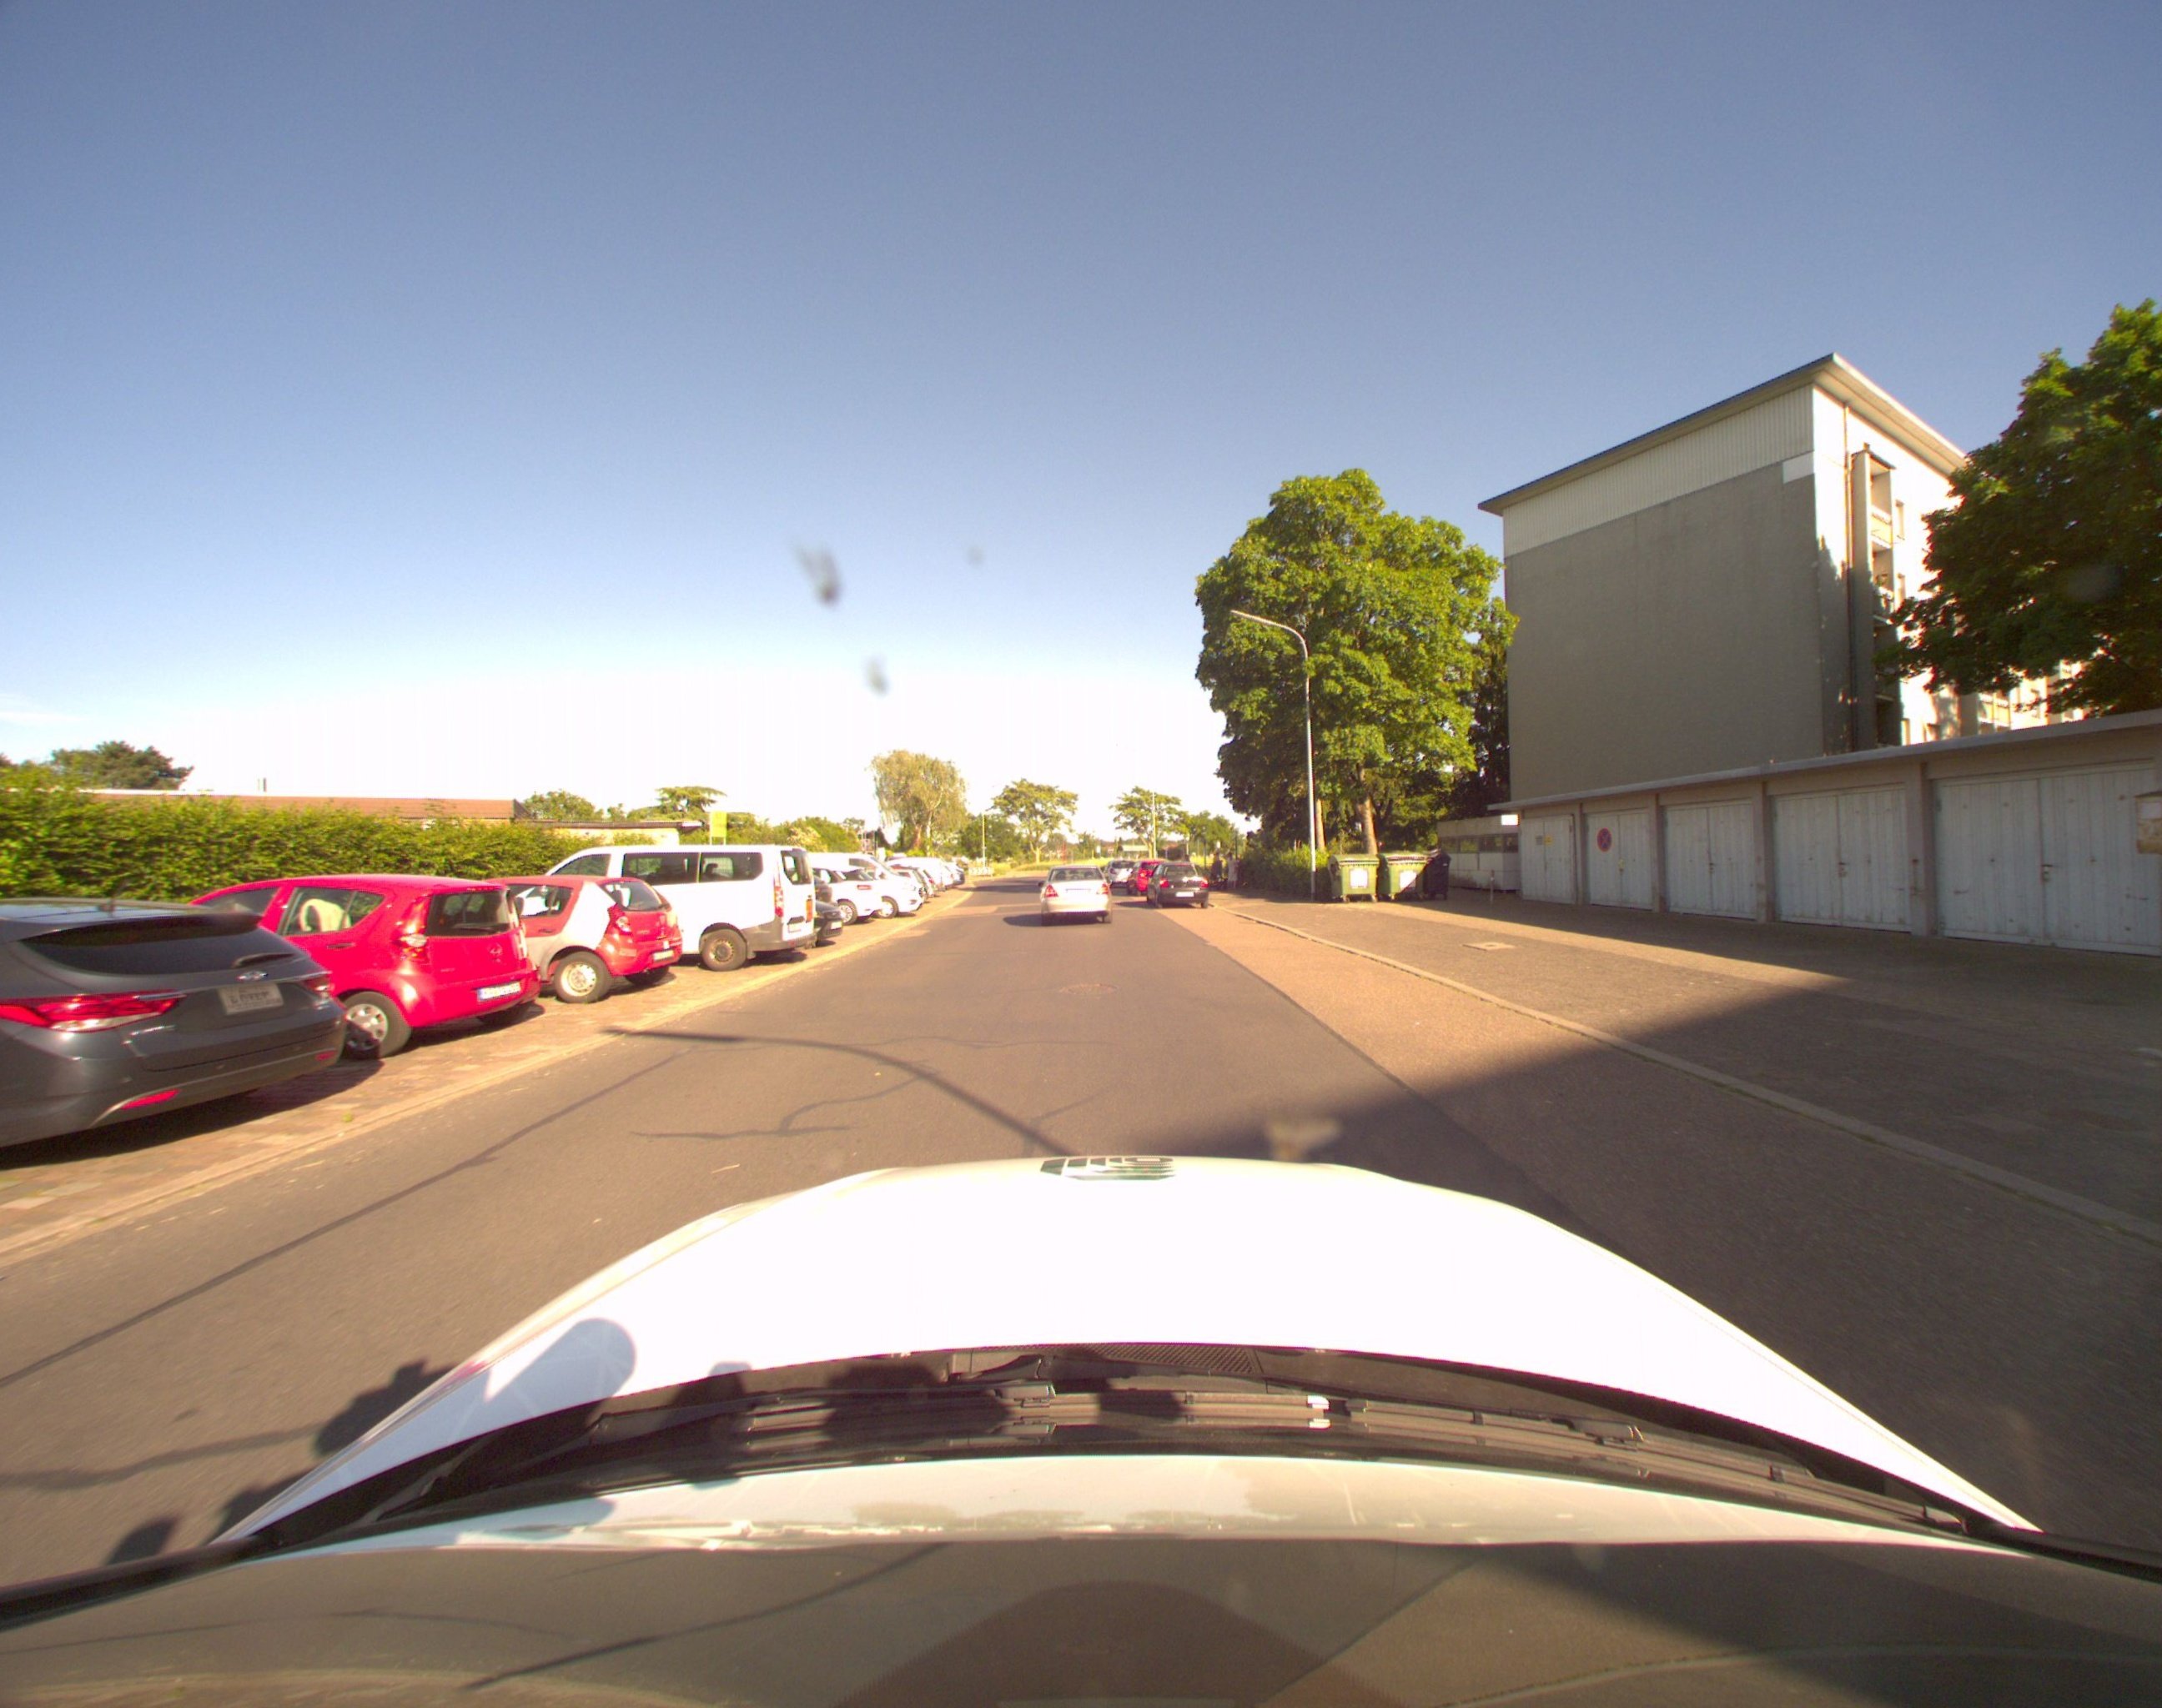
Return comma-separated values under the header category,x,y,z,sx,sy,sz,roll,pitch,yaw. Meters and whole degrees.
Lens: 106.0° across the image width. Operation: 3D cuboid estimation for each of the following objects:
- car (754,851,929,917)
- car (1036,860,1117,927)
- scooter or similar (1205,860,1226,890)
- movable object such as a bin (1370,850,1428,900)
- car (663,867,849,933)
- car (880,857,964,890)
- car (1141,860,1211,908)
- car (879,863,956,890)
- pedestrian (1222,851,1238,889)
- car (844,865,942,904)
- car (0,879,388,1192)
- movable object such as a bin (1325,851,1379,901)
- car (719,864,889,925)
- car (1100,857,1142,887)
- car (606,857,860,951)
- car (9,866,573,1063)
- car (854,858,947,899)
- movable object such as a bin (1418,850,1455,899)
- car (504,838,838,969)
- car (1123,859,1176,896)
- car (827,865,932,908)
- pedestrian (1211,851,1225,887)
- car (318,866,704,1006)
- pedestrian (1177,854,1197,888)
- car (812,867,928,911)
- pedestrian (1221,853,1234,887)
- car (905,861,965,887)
category,x,y,z,sx,sy,sz,roll,pitch,yaw
car,-7.294,0.909,25.205,4.778,1.921,2.079,1,-1,-3
car,-0.071,0.912,20.626,1.810,1.463,4.361,0,0,1
scooter or similar,5.710,0.873,34.565,0.621,1.227,0.904,-2,-1,-4
movable object such as a bin,9.328,0.614,23.927,1.271,1.416,0.950,-1,-1,-2
car,-7.868,1.096,20.015,3.755,1.487,1.883,1,-1,0
car,-9.590,1.178,49.438,4.869,1.915,1.994,-1,-1,-9
car,3.003,0.945,26.447,1.643,1.403,3.878,-2,-1,-2
car,-9.389,1.284,46.926,4.131,1.492,1.922,0,-1,-6
pedestrian,6.309,0.670,34.468,0.485,1.565,0.468,-3,-2,-8
car,-7.466,1.199,32.502,3.504,1.489,1.636,1,-1,-2
car,-7.208,0.920,4.876,4.530,1.479,1.747,1,0,-1
movable object such as a bin,7.926,0.645,23.862,1.234,1.403,0.914,-1,-1,-2
car,-7.506,1.084,22.372,3.974,1.583,1.883,1,-1,0
car,2.102,0.971,43.858,1.729,1.543,3.781,-1,-1,-5
car,-6.722,0.951,16.086,4.138,1.706,1.883,1,-1,0
car,-7.256,0.930,7.785,3.587,1.567,1.883,1,0,3
car,-8.289,1.111,37.712,3.973,1.780,1.921,0,0,-7
movable object such as a bin,10.413,0.599,23.870,0.721,1.416,0.688,-1,-1,-2
car,-6.615,0.782,13.577,4.465,1.977,1.999,1,-1,-1
car,2.795,0.951,33.994,1.573,1.446,3.781,-1,-1,-5
car,-7.339,1.174,29.919,3.509,1.489,1.633,0,1,-6
pedestrian,5.987,0.662,35.645,0.479,1.565,0.598,-3,-2,7
car,-7.082,0.975,10.429,3.589,1.567,1.852,1,0,0
pedestrian,4.847,0.775,37.160,0.786,1.565,0.569,1,-1,-4
car,-7.136,1.172,27.815,3.504,1.446,1.635,1,-1,-2
pedestrian,6.495,0.704,36.095,0.361,1.503,0.499,-3,-2,-6
car,-9.336,1.278,52.232,3.605,1.607,1.730,1,-1,-4
